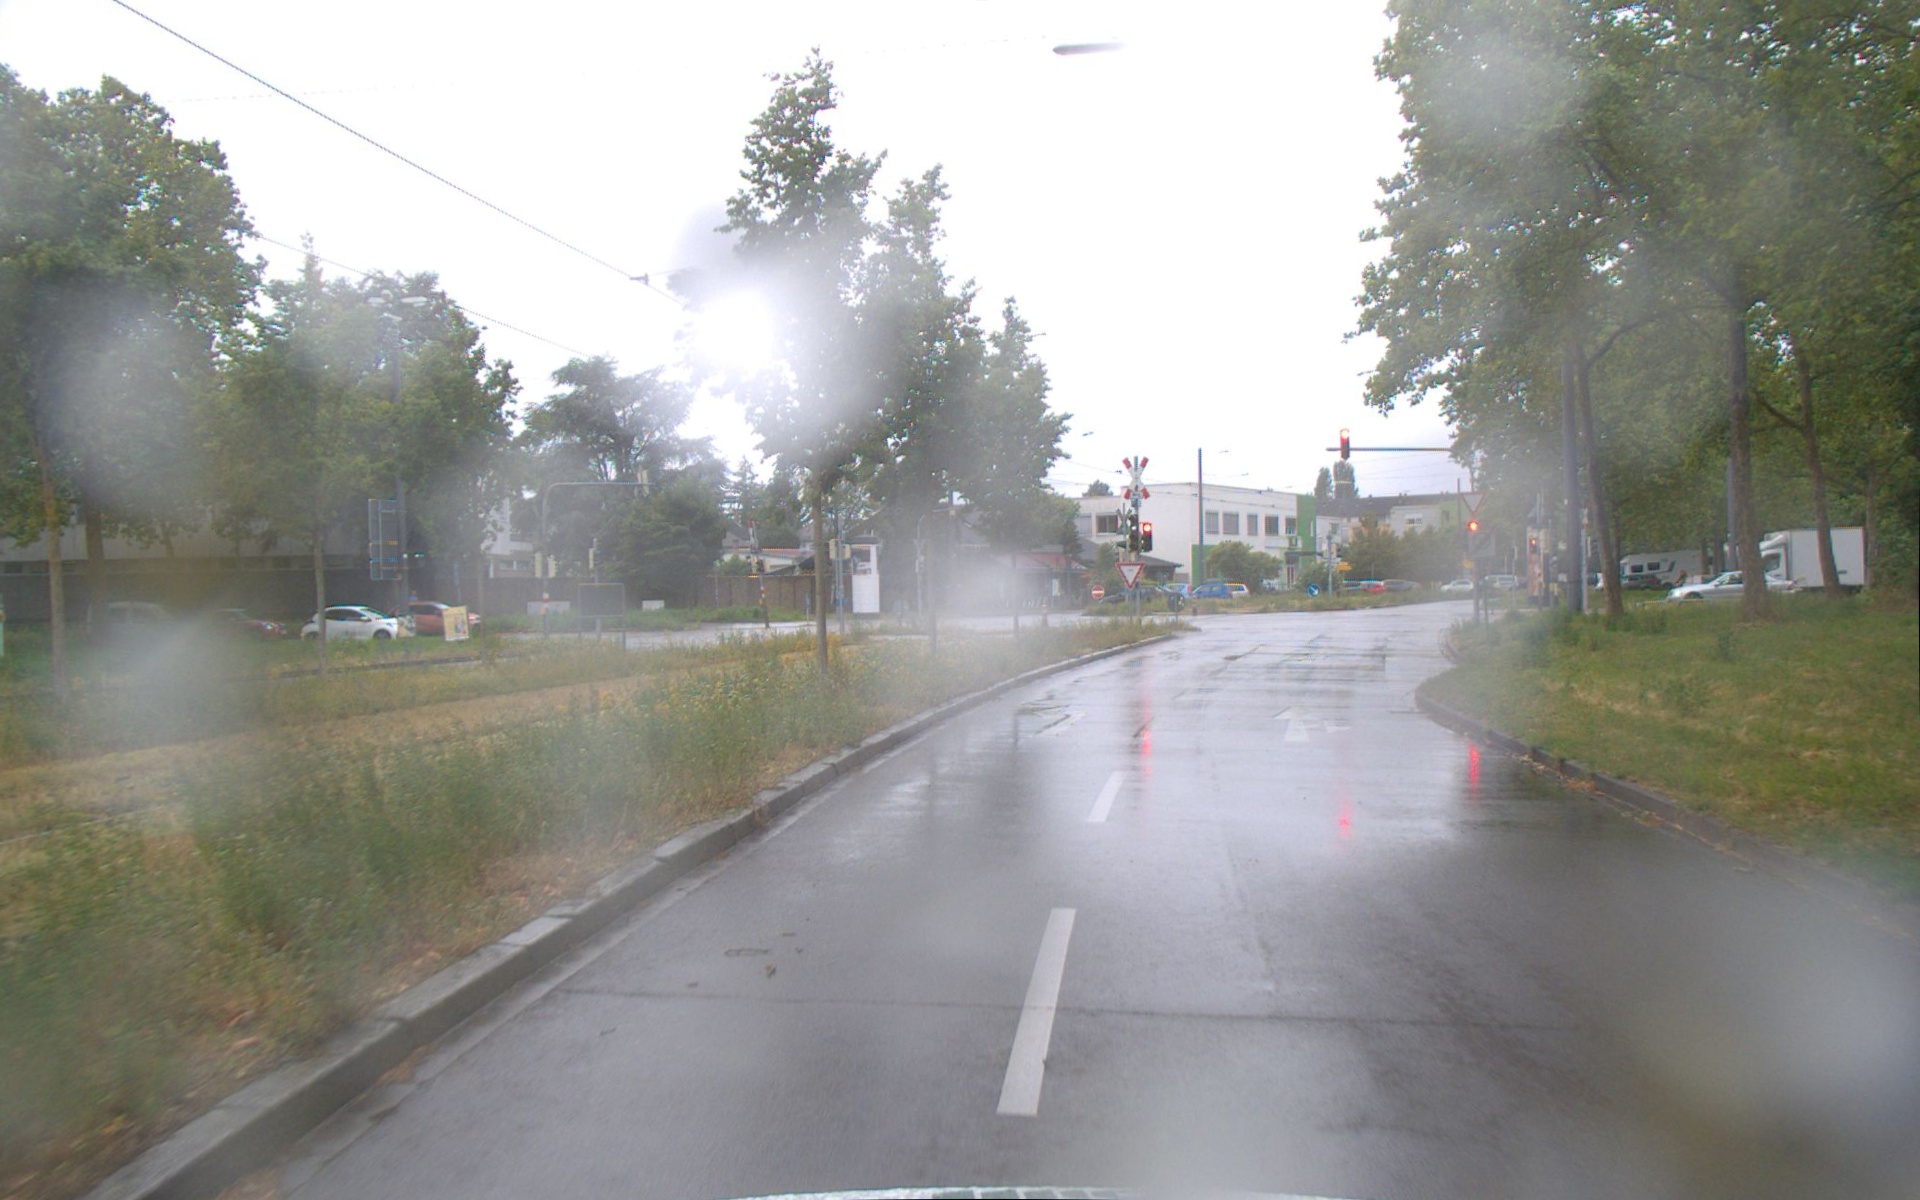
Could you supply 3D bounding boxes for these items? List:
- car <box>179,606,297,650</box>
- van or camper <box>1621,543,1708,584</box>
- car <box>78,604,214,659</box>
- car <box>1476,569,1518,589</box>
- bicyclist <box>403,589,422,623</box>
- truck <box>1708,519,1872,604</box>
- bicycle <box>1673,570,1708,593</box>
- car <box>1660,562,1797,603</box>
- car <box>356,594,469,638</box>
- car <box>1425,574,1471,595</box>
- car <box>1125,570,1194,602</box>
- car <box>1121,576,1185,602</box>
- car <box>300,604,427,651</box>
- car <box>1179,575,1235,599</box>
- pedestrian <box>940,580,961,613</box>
[{"bbox_3d":[-28.064,1.063,64.365,3.828,1.525,1.652,-2,1,-1],"label":"car"},{"bbox_3d":[47.666,-2.477,111.928,5.127,2.744,2.237,1,2,33],"label":"van or camper"},{"bbox_3d":[-29.983,1.134,61.010,4.124,1.827,1.652,-2,1,-1],"label":"car"},{"bbox_3d":[57.324,-2.219,176.528,4.049,2.010,1.674,-2,0,21],"label":"car"},{"bbox_3d":[-28.097,0.310,84.884,0.669,1.712,0.642,-2,0,10],"label":"bicyclist"},{"bbox_3d":[32.521,-1.486,64.918,5.351,3.112,1.983,-1,0,11],"label":"truck"},{"bbox_3d":[36.311,-0.921,82.212,1.529,1.121,0.500,-2,0,0],"label":"bicycle"},{"bbox_3d":[28.977,-0.638,62.486,4.416,1.414,1.646,-1,0,11],"label":"car"},{"bbox_3d":[-21.244,0.614,64.251,3.738,1.525,1.652,-2,0,2],"label":"car"},{"bbox_3d":[47.376,-1.459,160.614,4.046,1.892,1.675,-2,0,10],"label":"car"},{"bbox_3d":[12.803,-0.865,105.932,4.049,1.892,1.674,-2,0,21],"label":"car"},{"bbox_3d":[11.978,-0.683,102.566,3.671,1.467,1.764,-2,0,17],"label":"car"},{"bbox_3d":[-21.744,0.993,60.392,3.981,1.525,1.652,-2,0,2],"label":"car"},{"bbox_3d":[16.429,-0.878,110.110,3.670,1.467,1.764,-2,0,8],"label":"car"},{"bbox_3d":[-0.522,-0.169,92.058,0.792,1.794,0.900,-2,0,-30],"label":"pedestrian"}]
